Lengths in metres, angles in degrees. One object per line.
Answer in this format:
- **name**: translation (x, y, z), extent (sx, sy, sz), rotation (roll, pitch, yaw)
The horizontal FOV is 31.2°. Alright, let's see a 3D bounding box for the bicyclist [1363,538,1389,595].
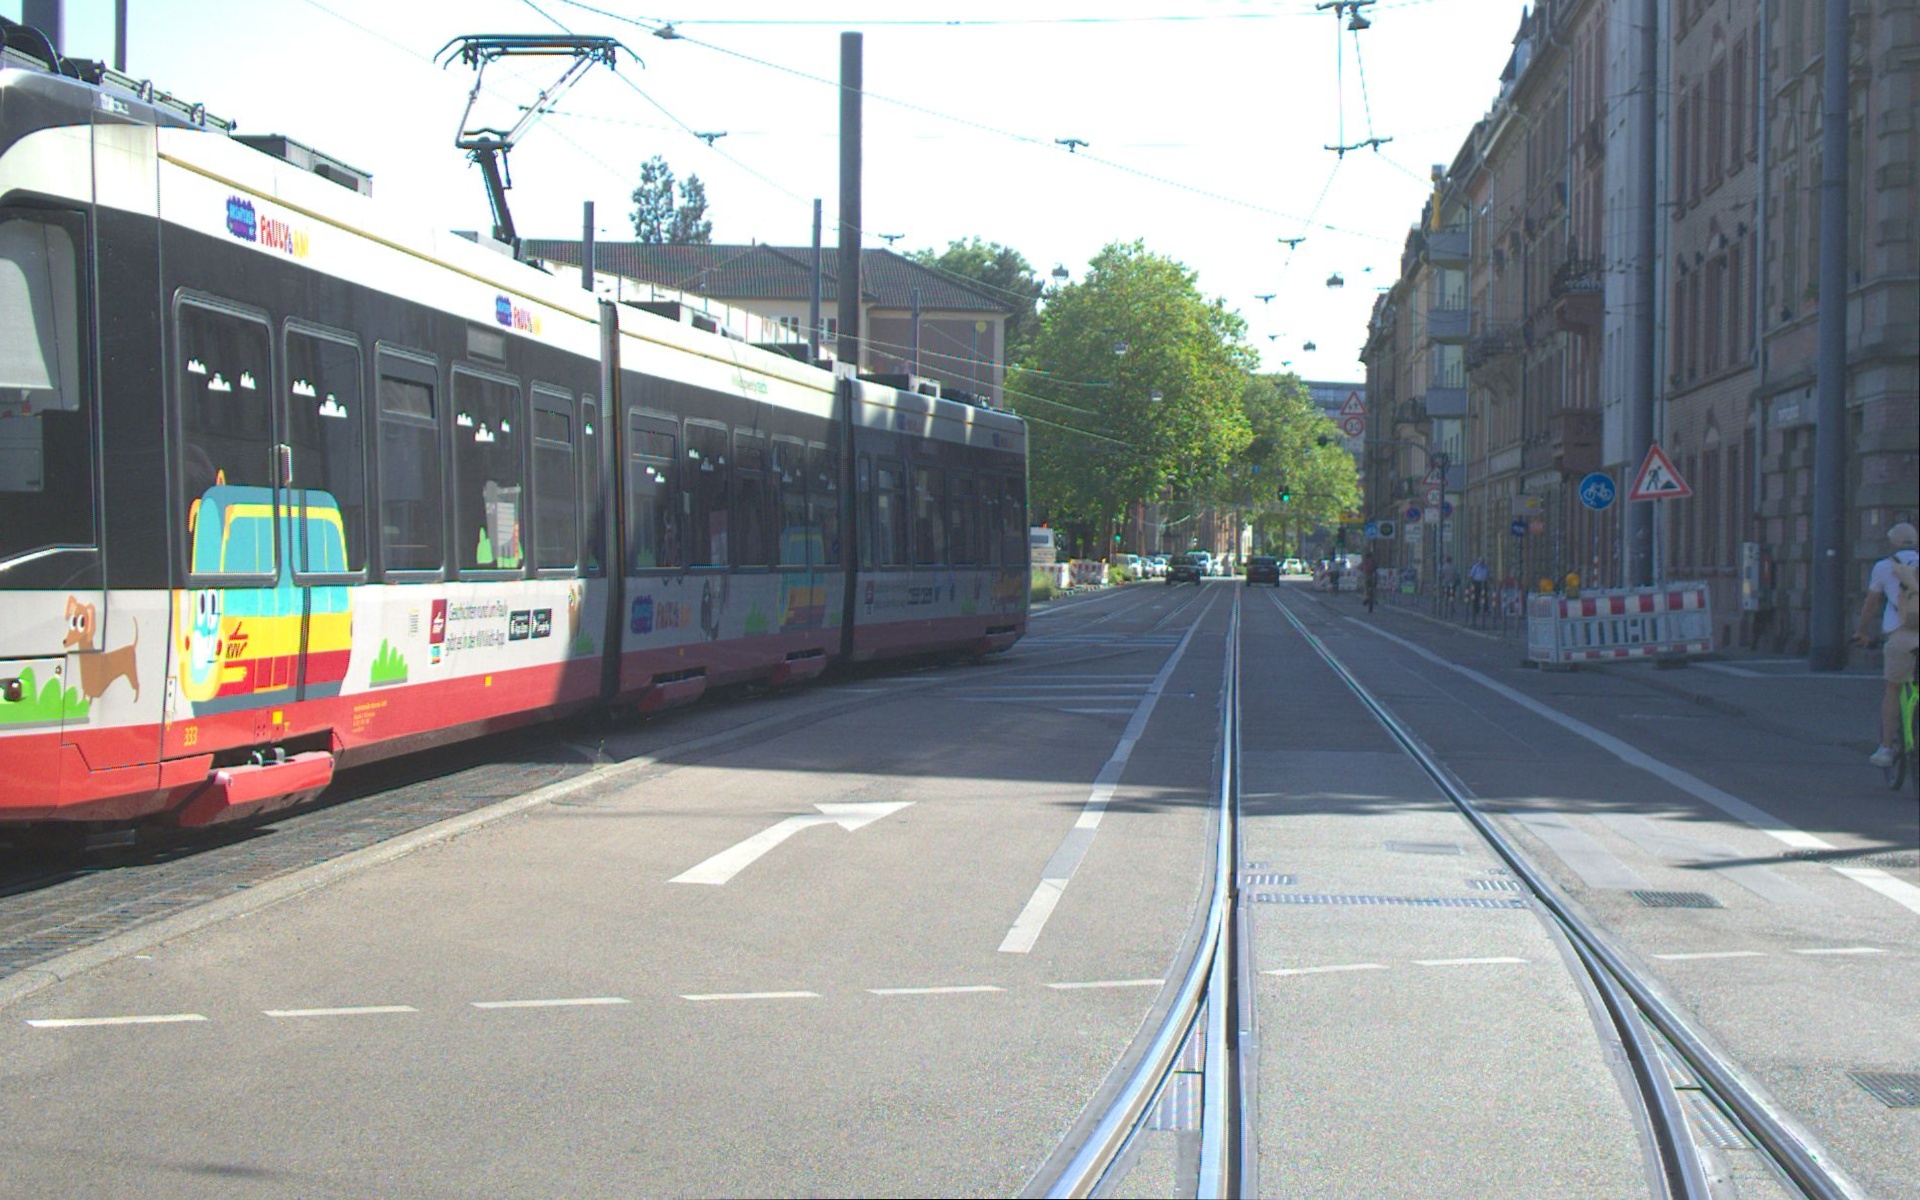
- **bicyclist**: translation (12.670, -1.018, 104.615), extent (0.667, 1.691, 1.043), rotation (3, 0, 4)

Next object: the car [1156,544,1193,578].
- **car**: translation (11.470, -2.069, 183.810), extent (1.759, 1.691, 4.143), rotation (3, 1, 6)

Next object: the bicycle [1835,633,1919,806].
- **bicycle**: translation (6.441, 0.800, 23.419), extent (0.531, 1.114, 1.933), rotation (3, 0, 4)

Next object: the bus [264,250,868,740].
- **bus**: translation (-3.093, -0.869, 30.895), extent (2.842, 3.577, 10.723), rotation (2, 1, 7)

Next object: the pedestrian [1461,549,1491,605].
- **pedestrian**: translation (14.876, -0.656, 99.061), extent (0.798, 1.599, 0.652), rotation (1, 0, 7)

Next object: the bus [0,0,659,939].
- **bus**: translation (-4.285, -0.699, 18.902), extent (2.841, 3.577, 13.493), rotation (2, 1, 5)

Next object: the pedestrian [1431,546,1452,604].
- **pedestrian**: translation (13.963, -0.726, 99.715), extent (0.553, 1.695, 0.473), rotation (-1, 0, 12)

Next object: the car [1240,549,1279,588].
- **car**: translation (16.344, -1.717, 187.376), extent (1.994, 2.007, 3.999), rotation (3, 1, 5)

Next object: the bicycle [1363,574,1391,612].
- **bicycle**: translation (12.685, -0.231, 104.581), extent (0.681, 1.110, 2.707), rotation (3, 1, 4)

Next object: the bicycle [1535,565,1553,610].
- **bicycle**: translation (14.563, -0.308, 85.691), extent (0.410, 1.117, 1.897), rotation (-1, 0, 9)

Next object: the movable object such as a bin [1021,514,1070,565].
- **movable object such as a bin**: translation (4.724, -3.305, 188.804), extent (2.495, 2.636, 5.989), rotation (3, 1, 2)

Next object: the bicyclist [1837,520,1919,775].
- **bicyclist**: translation (6.461, 0.318, 23.354), extent (0.681, 1.678, 1.120), rotation (3, 0, 2)

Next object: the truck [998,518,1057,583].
- **truck**: translation (3.096, -2.259, 157.786), extent (2.538, 2.820, 6.376), rotation (3, 1, 1)

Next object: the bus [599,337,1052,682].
- **bus**: translation (-1.289, -1.040, 41.756), extent (2.842, 3.577, 11.265), rotation (2, 1, 11)
